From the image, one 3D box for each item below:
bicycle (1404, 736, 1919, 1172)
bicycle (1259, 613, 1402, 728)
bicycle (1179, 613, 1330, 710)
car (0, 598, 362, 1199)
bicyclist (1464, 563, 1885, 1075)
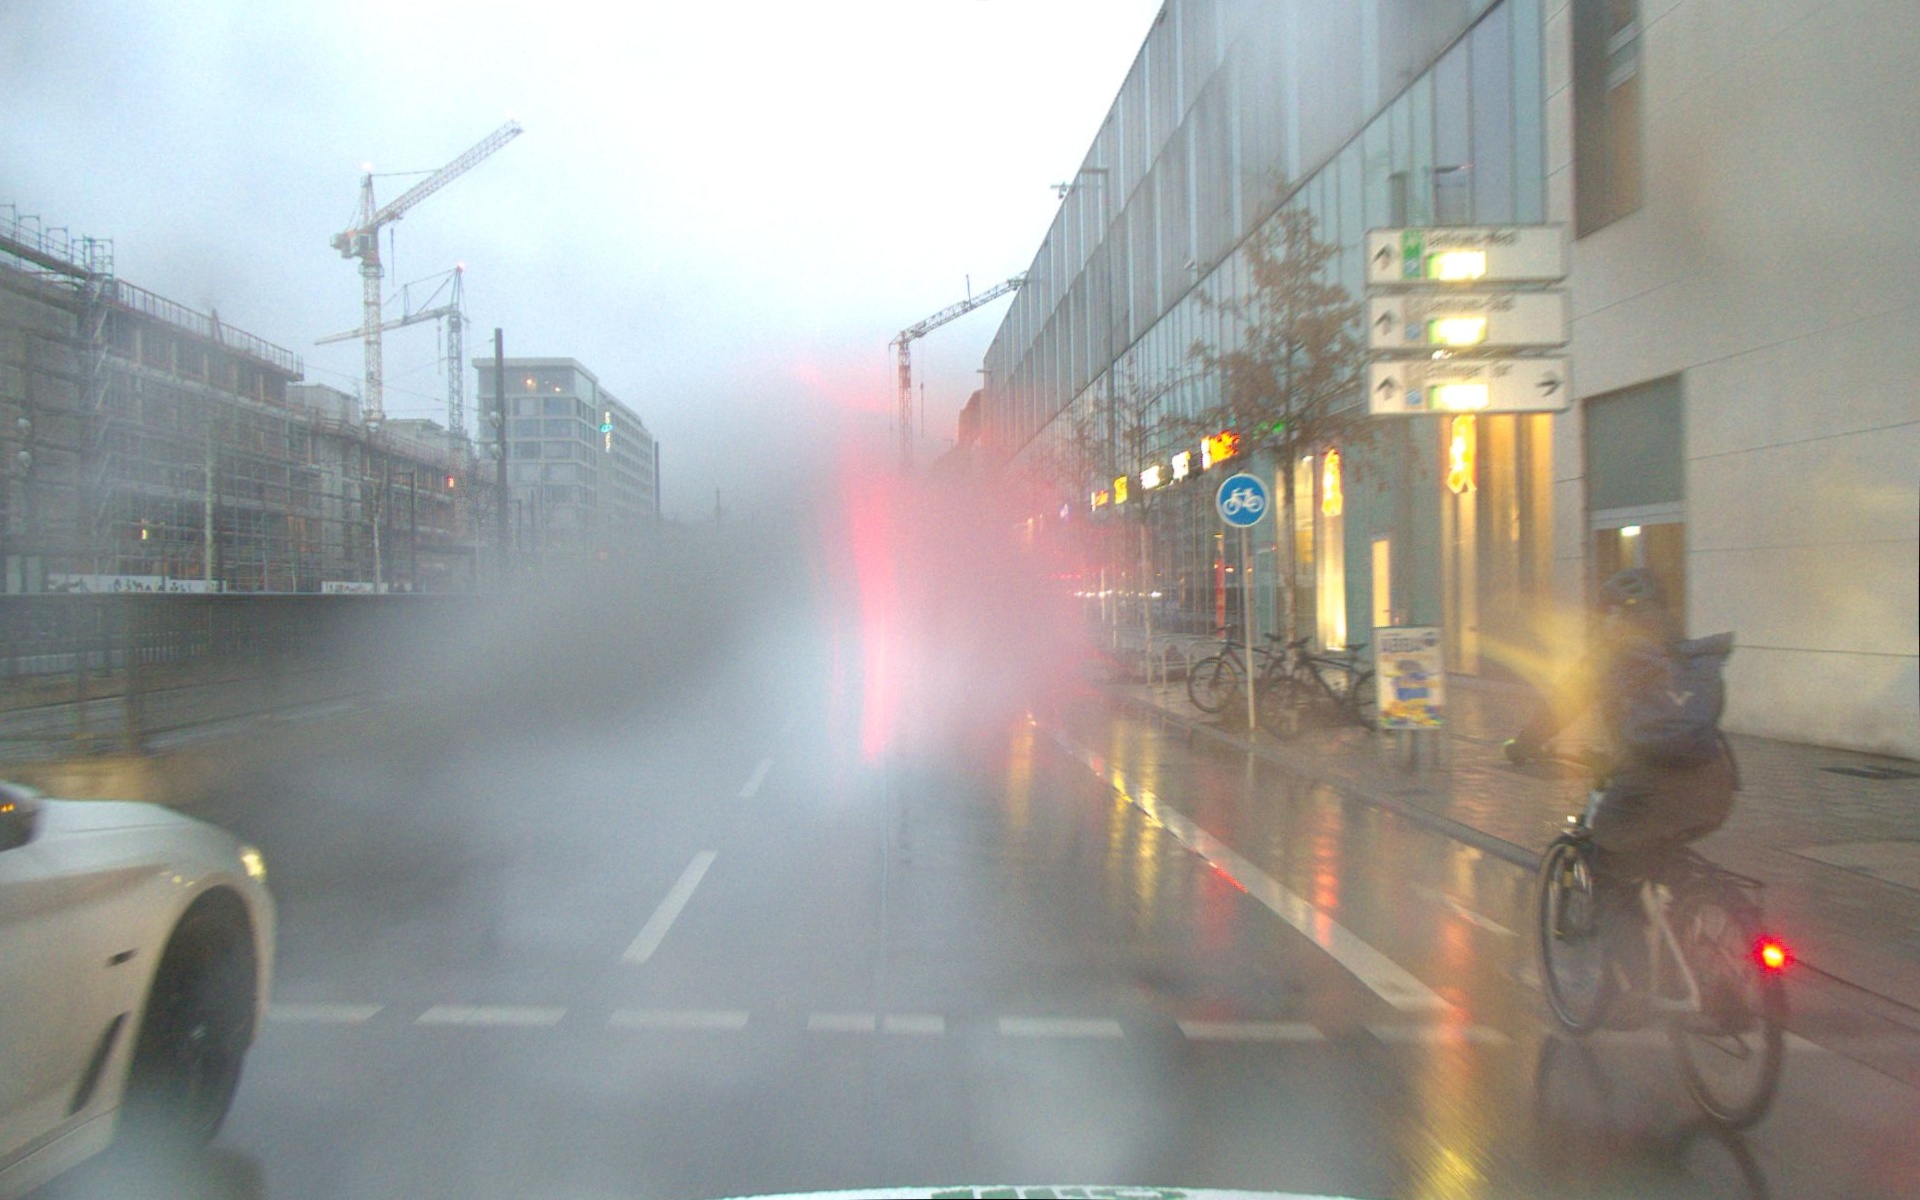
[{"bbox_3d":[2.243,1.054,5.622,0.923,1.017,2.241,0,-1,2],"label":"bicycle"},{"bbox_3d":[4.361,0.802,19.501,1.533,1.283,0.662,0,0,44],"label":"bicycle"},{"bbox_3d":[3.959,0.823,22.279,1.866,1.195,0.666,-2,0,-4],"label":"bicycle"},{"bbox_3d":[-2.816,0.748,2.719,1.814,1.491,4.947,0,0,1],"label":"car"},{"bbox_3d":[2.242,0.635,5.352,0.923,1.488,1.067,0,0,2],"label":"bicyclist"}]
